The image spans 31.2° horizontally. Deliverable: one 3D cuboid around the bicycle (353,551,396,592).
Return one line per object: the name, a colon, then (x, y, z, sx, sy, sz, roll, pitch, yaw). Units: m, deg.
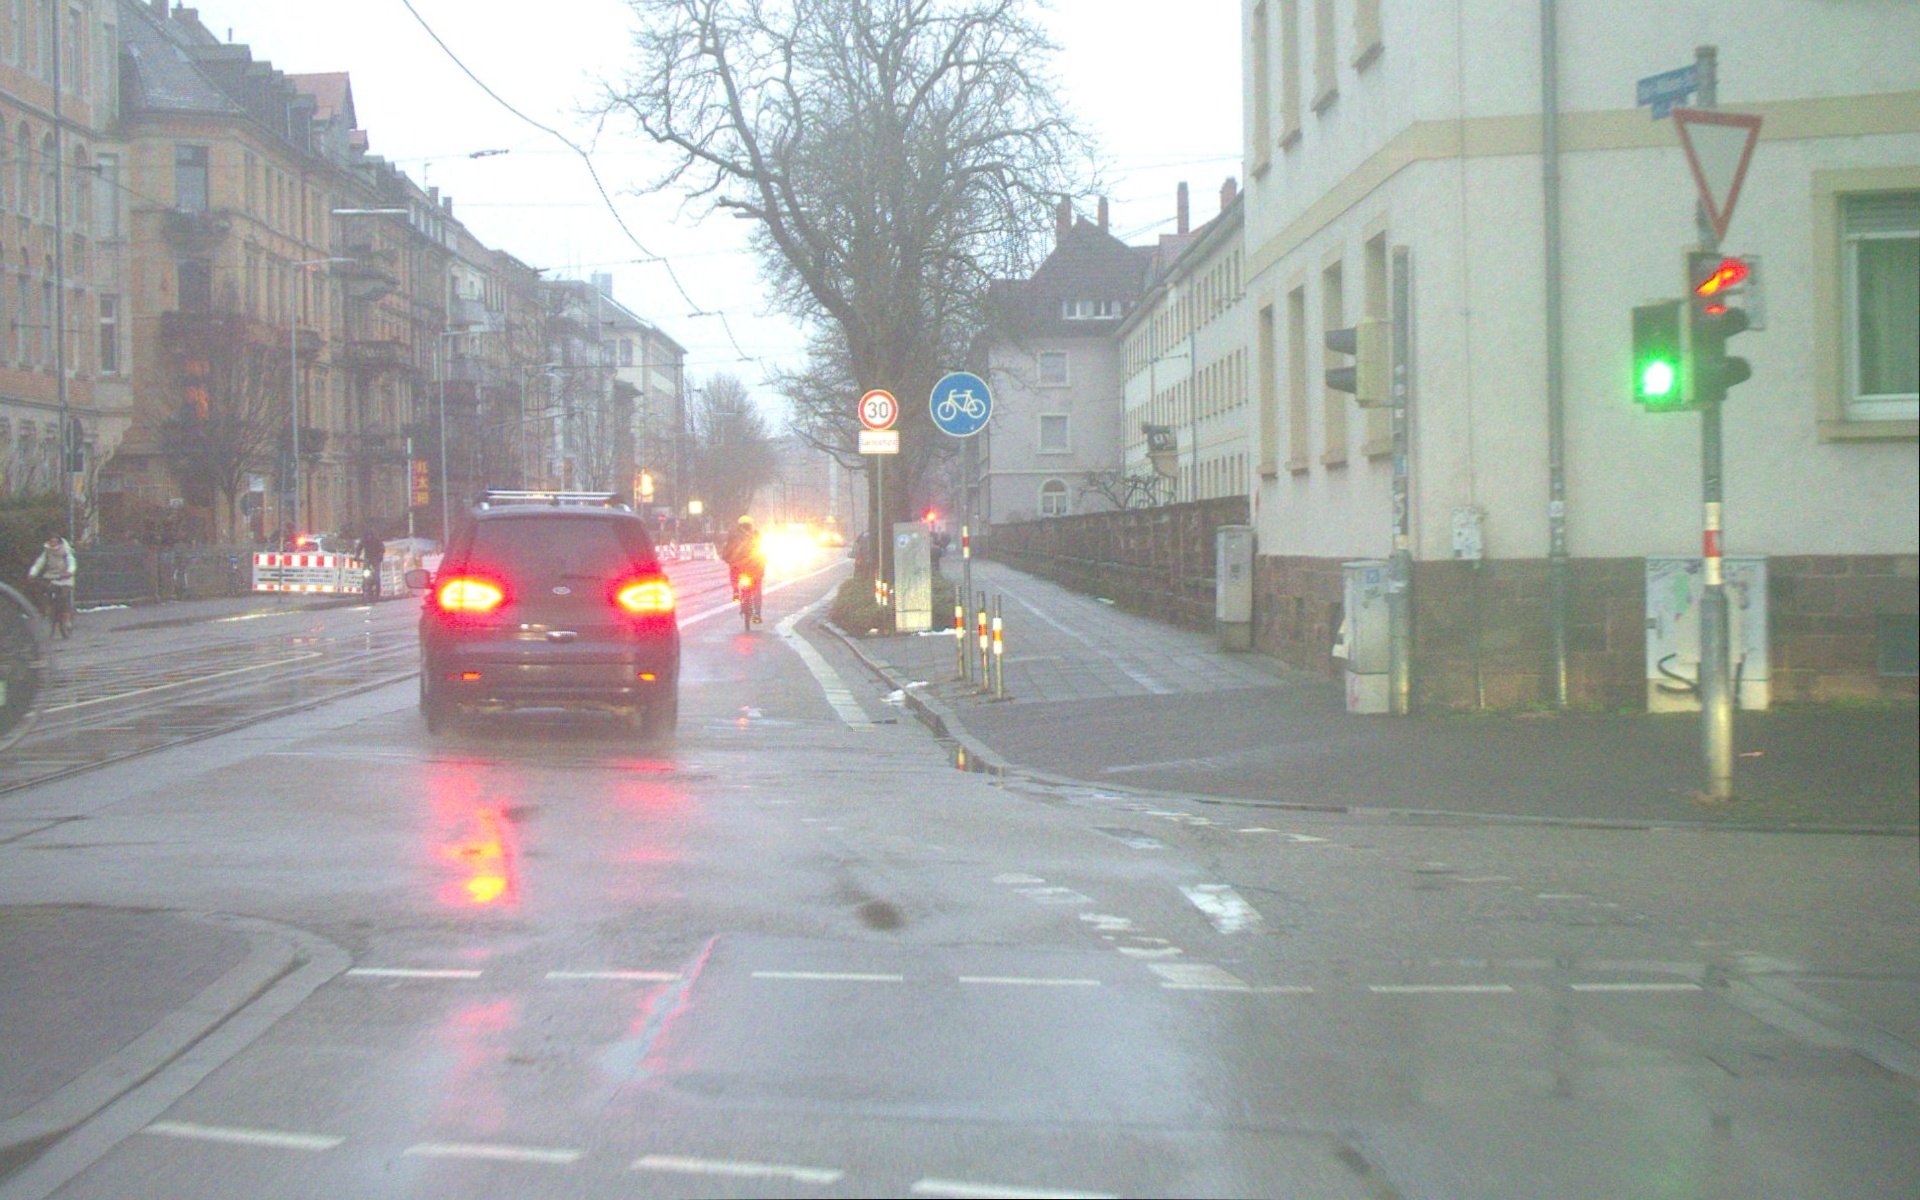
bicycle: (-13.982, -0.694, 82.143, 0.678, 0.969, 1.933, 0, 1, 0)

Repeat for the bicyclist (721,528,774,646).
bicyclist: (-3.143, -0.198, 50.910, 0.730, 1.730, 0.765, 0, 1, 0)

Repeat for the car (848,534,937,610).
car: (-1.417, -0.605, 71.476, 1.785, 1.504, 3.988, -1, 1, -1)

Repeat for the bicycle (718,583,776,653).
bicycle: (-3.145, 0.258, 50.866, 0.731, 1.003, 1.764, 0, 1, 0)

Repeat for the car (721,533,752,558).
car: (-15.455, -3.766, 238.203, 1.923, 1.714, 4.000, -1, 1, -1)

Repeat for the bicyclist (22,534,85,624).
bicyclist: (-14.001, -0.329, 53.107, 0.704, 1.359, 0.944, 1, 1, 0)

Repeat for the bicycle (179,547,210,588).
bicycle: (-17.516, -0.751, 78.670, 0.263, 0.912, 1.685, 5, 1, -1)

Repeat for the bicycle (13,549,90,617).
bicycle: (-14.006, -0.273, 53.031, 0.681, 1.003, 1.803, -1, 1, 0)

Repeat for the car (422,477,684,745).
car: (-3.196, 0.034, 26.642, 1.801, 1.864, 4.019, 2, 1, -8)

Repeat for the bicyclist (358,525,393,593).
bicyclist: (-13.968, -0.987, 82.154, 0.683, 1.610, 0.765, 0, 1, 0)
